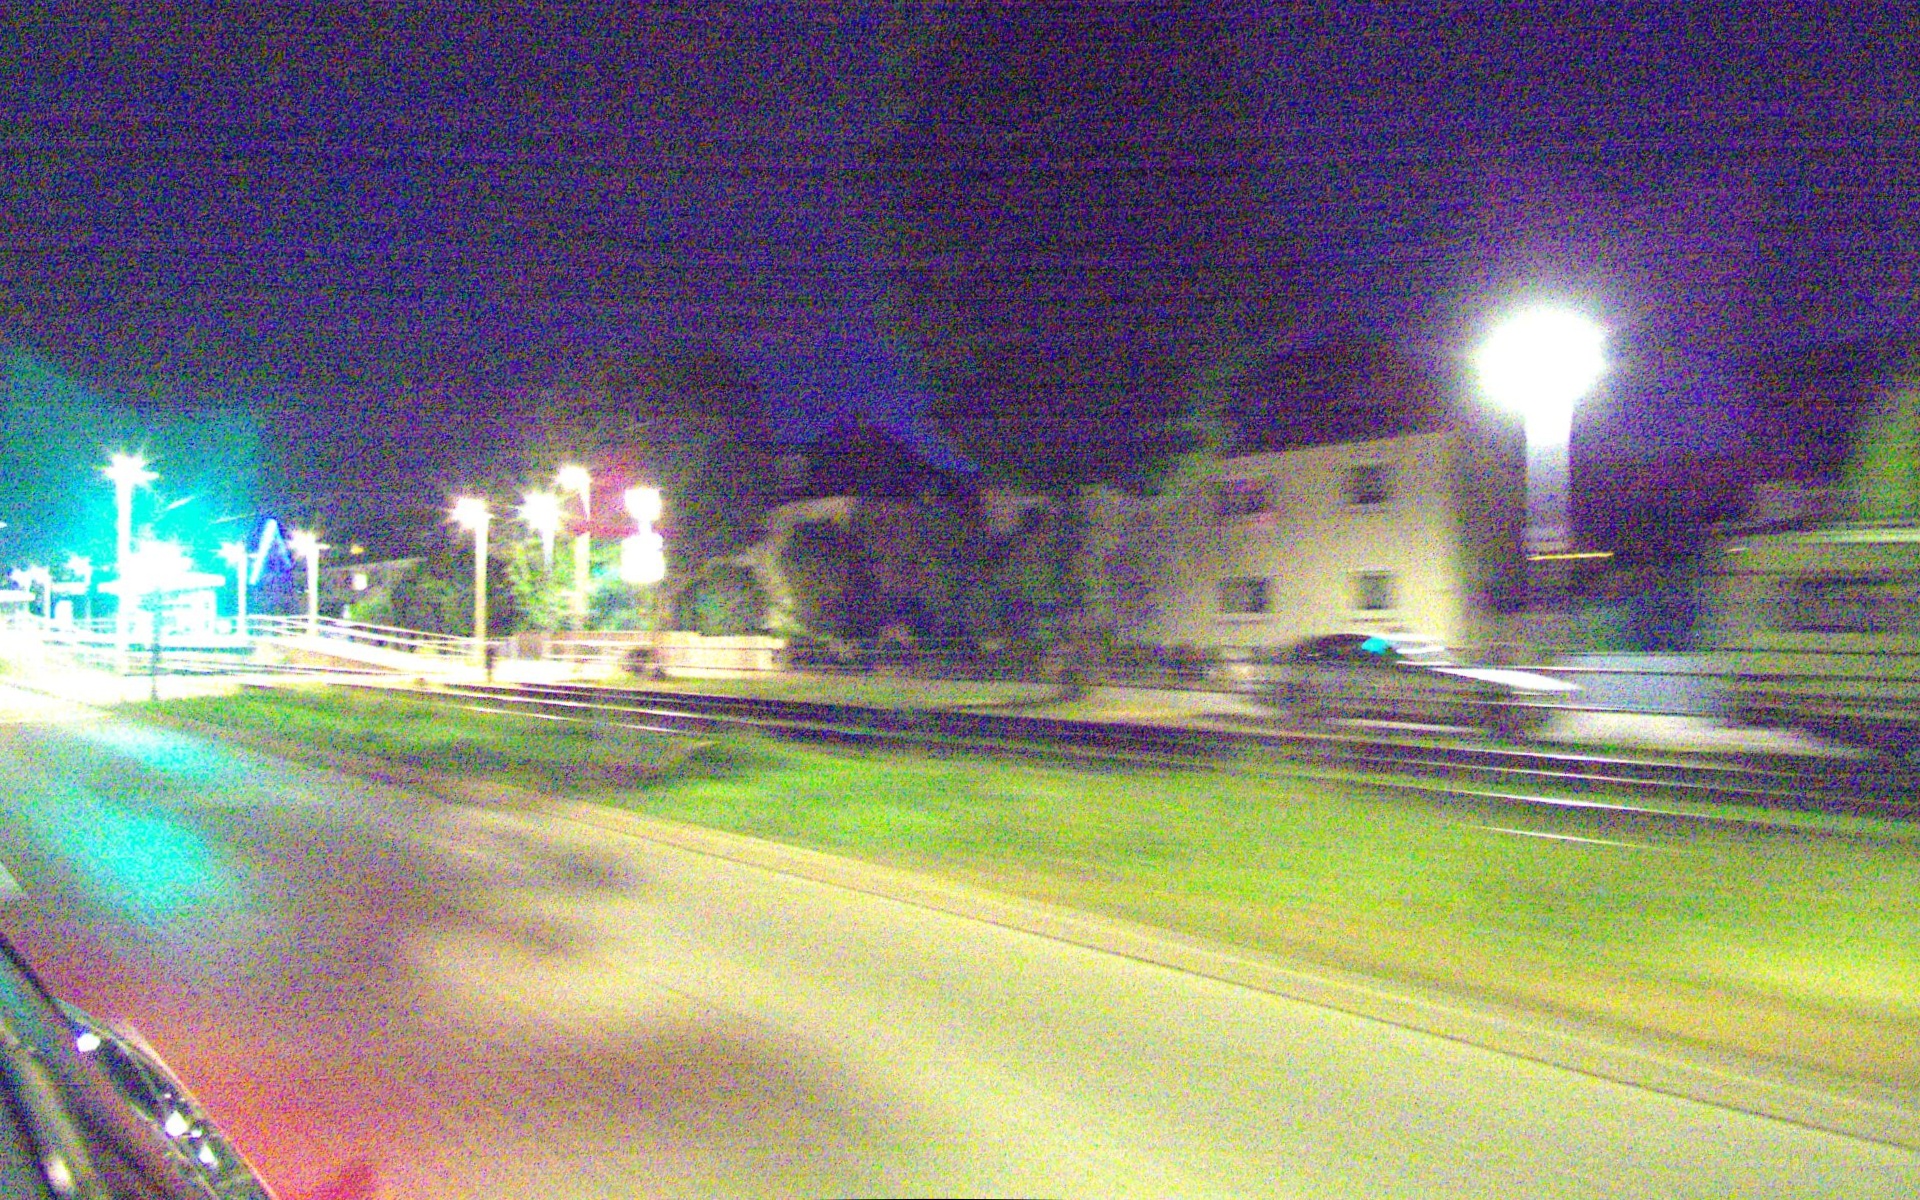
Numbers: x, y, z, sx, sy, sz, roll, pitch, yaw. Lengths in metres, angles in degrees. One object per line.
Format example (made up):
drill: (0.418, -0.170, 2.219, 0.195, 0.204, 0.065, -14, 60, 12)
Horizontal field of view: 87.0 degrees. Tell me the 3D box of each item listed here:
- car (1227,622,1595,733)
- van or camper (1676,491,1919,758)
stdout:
car: (6.292, 1.069, 14.478, 4.540, 1.350, 1.628, -2, -6, 41)
van or camper: (10.964, 0.285, 10.493, 5.656, 2.668, 2.251, -2, -4, 38)
